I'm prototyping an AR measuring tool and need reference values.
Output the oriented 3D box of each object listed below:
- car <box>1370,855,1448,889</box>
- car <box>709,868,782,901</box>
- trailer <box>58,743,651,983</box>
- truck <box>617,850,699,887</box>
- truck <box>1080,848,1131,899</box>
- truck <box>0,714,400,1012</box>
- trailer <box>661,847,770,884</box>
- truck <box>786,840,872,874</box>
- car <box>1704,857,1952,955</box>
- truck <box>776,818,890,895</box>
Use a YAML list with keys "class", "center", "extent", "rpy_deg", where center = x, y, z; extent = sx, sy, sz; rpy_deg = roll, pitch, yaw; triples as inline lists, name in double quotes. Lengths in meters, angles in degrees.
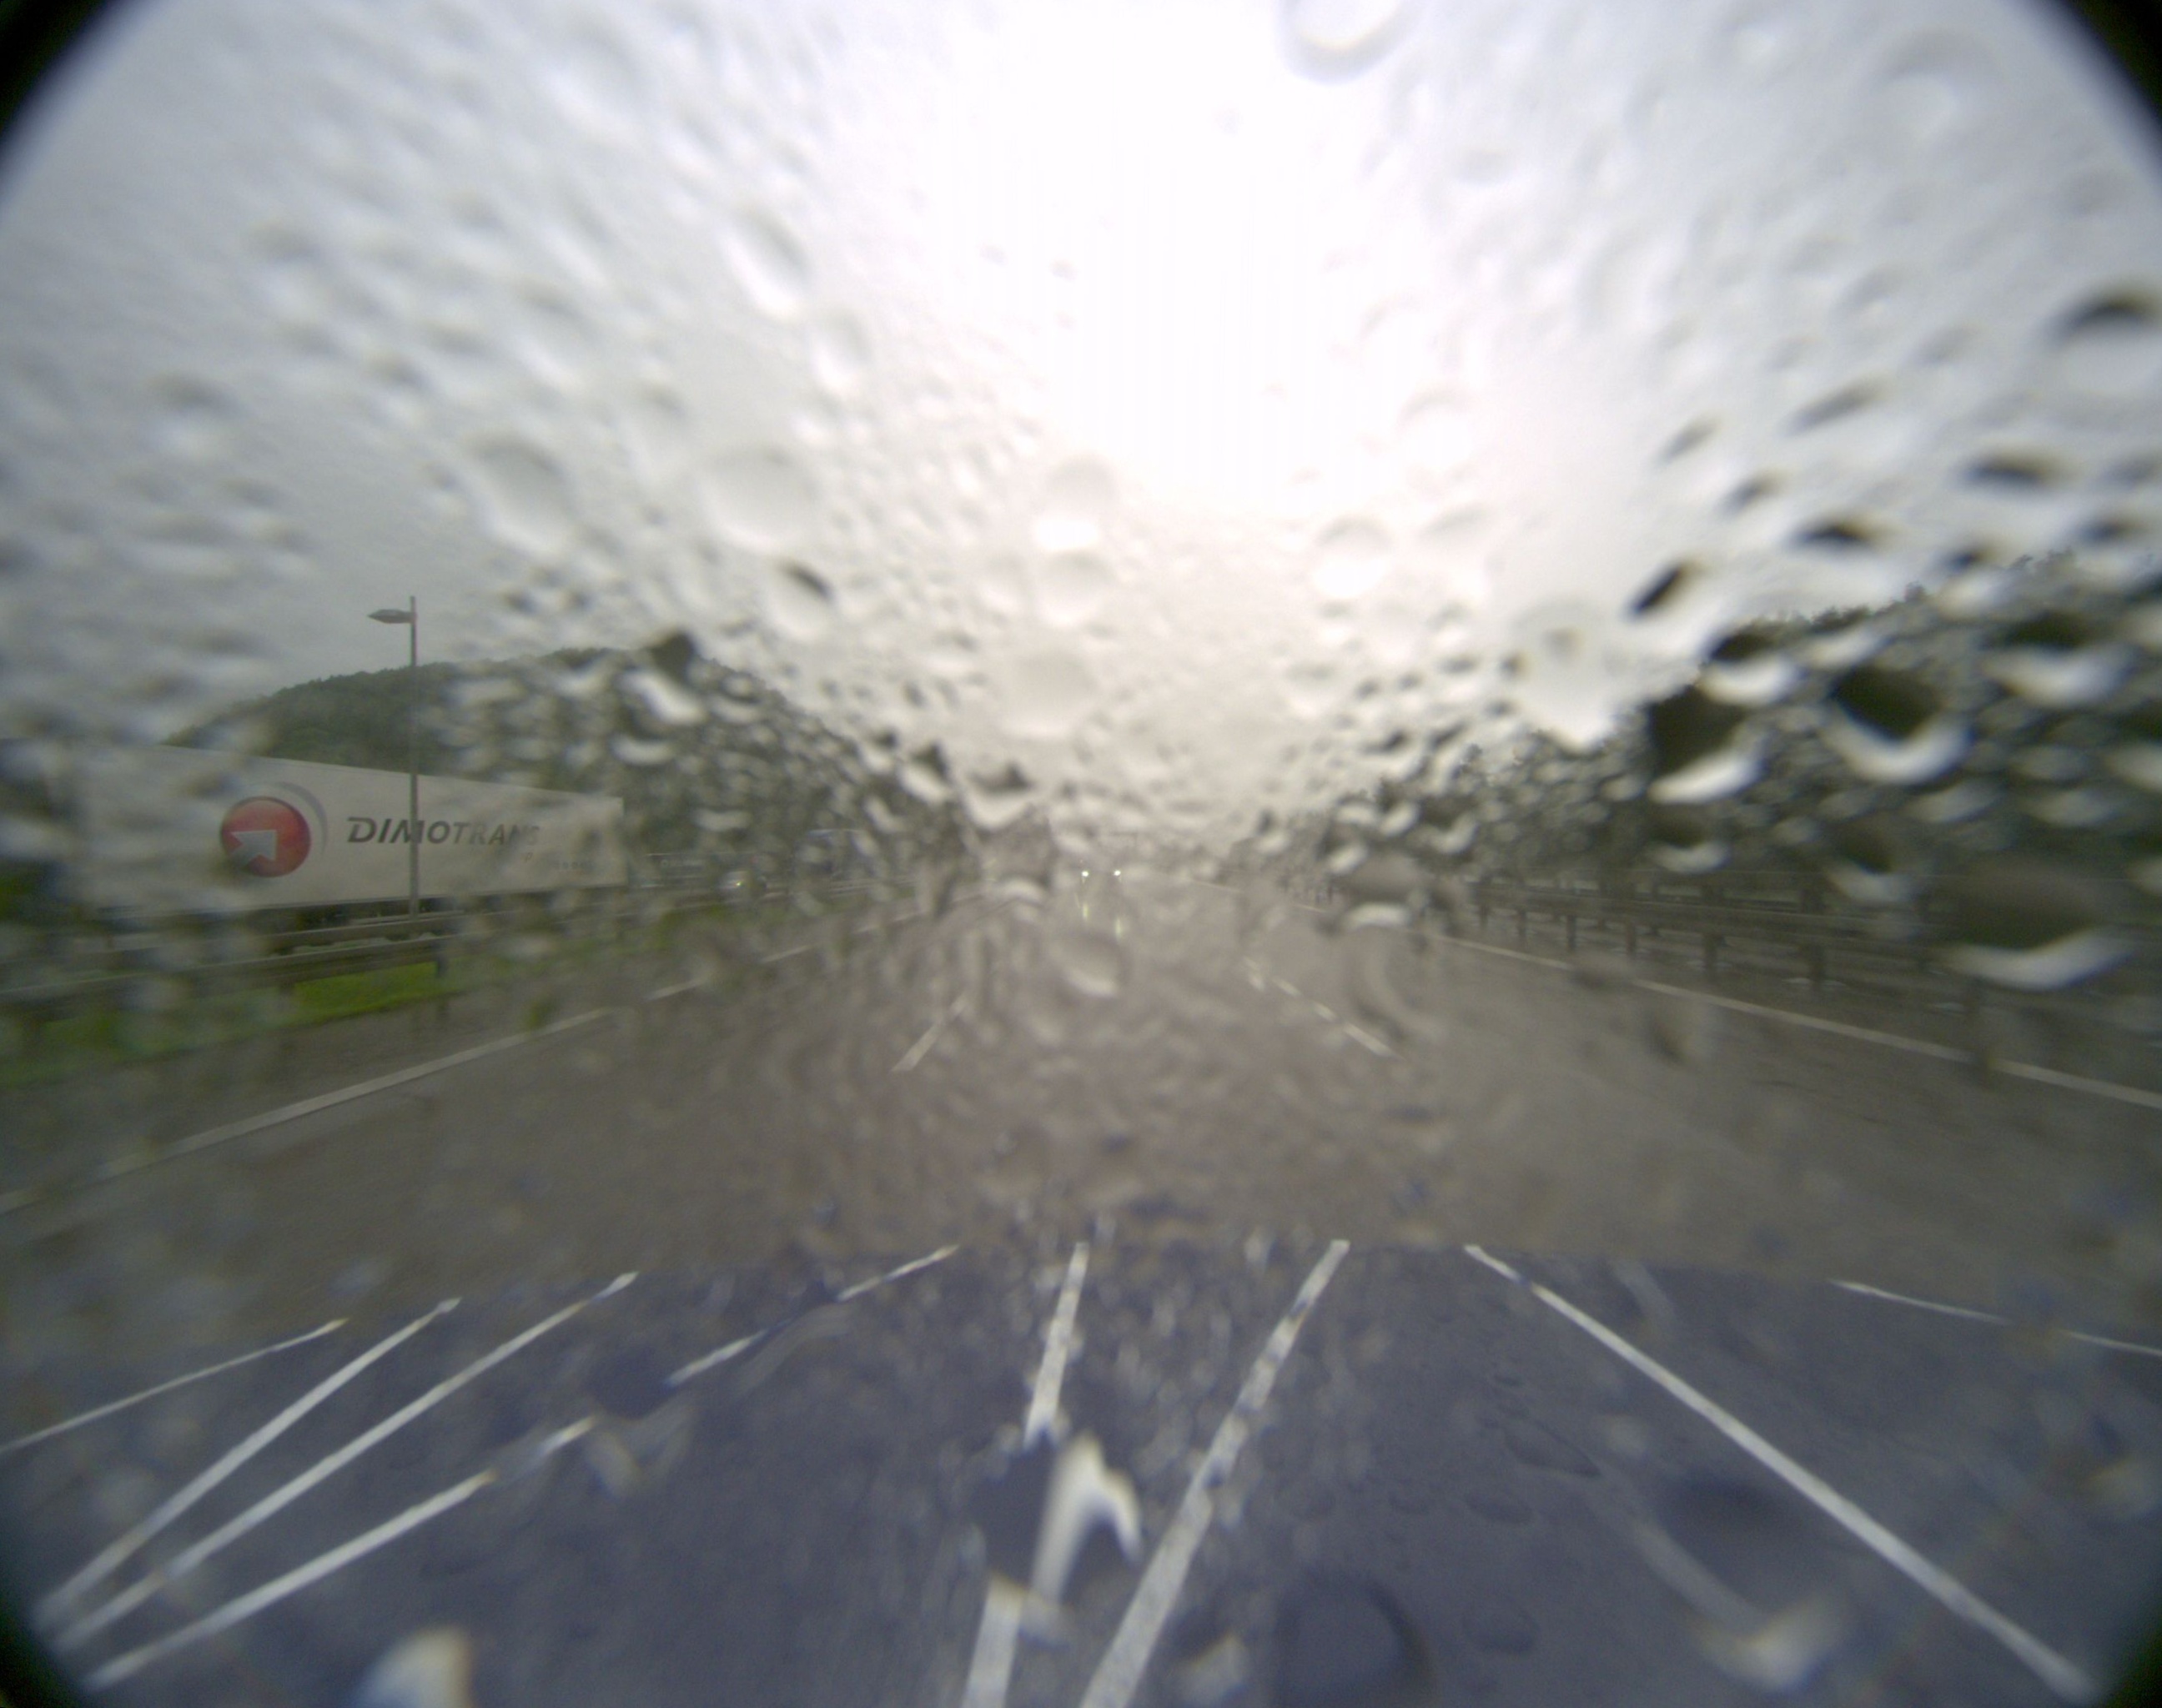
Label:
- class: "car"
  center: [17.564, 0.929, 41.005]
  extent: [1.998, 1.682, 5.304]
  rpy_deg: [-1, 0, 1]
- class: "car"
  center: [-21.065, 1.846, 47.976]
  extent: [1.998, 1.740, 5.662]
  rpy_deg: [-2, 0, 0]
- class: "trailer"
  center: [-16.630, 0.141, 19.818]
  extent: [3.525, 4.237, 11.920]
  rpy_deg: [-2, 0, 2]
- class: "truck"
  center: [-47.869, 1.556, 86.198]
  extent: [2.750, 3.844, 7.548]
  rpy_deg: [-2, 1, 35]
- class: "truck"
  center: [1.011, 0.755, 33.554]
  extent: [1.998, 2.002, 7.576]
  rpy_deg: [-1, 0, 1]
- class: "truck"
  center: [-16.913, 0.176, 12.773]
  extent: [3.536, 4.195, 7.816]
  rpy_deg: [-2, 0, 2]
- class: "trailer"
  center: [-43.880, 1.322, 91.822]
  extent: [2.786, 3.878, 11.772]
  rpy_deg: [-2, 1, 35]
- class: "truck"
  center: [-34.734, 0.319, 105.262]
  extent: [2.872, 4.232, 11.894]
  rpy_deg: [-2, 1, 34]
- class: "car"
  center: [17.477, 1.113, 18.101]
  extent: [1.998, 2.002, 4.000]
  rpy_deg: [-1, 0, 1]
- class: "truck"
  center: [-15.877, 0.158, 49.999]
  extent: [3.409, 4.376, 11.049]
  rpy_deg: [-3, 0, 2]
